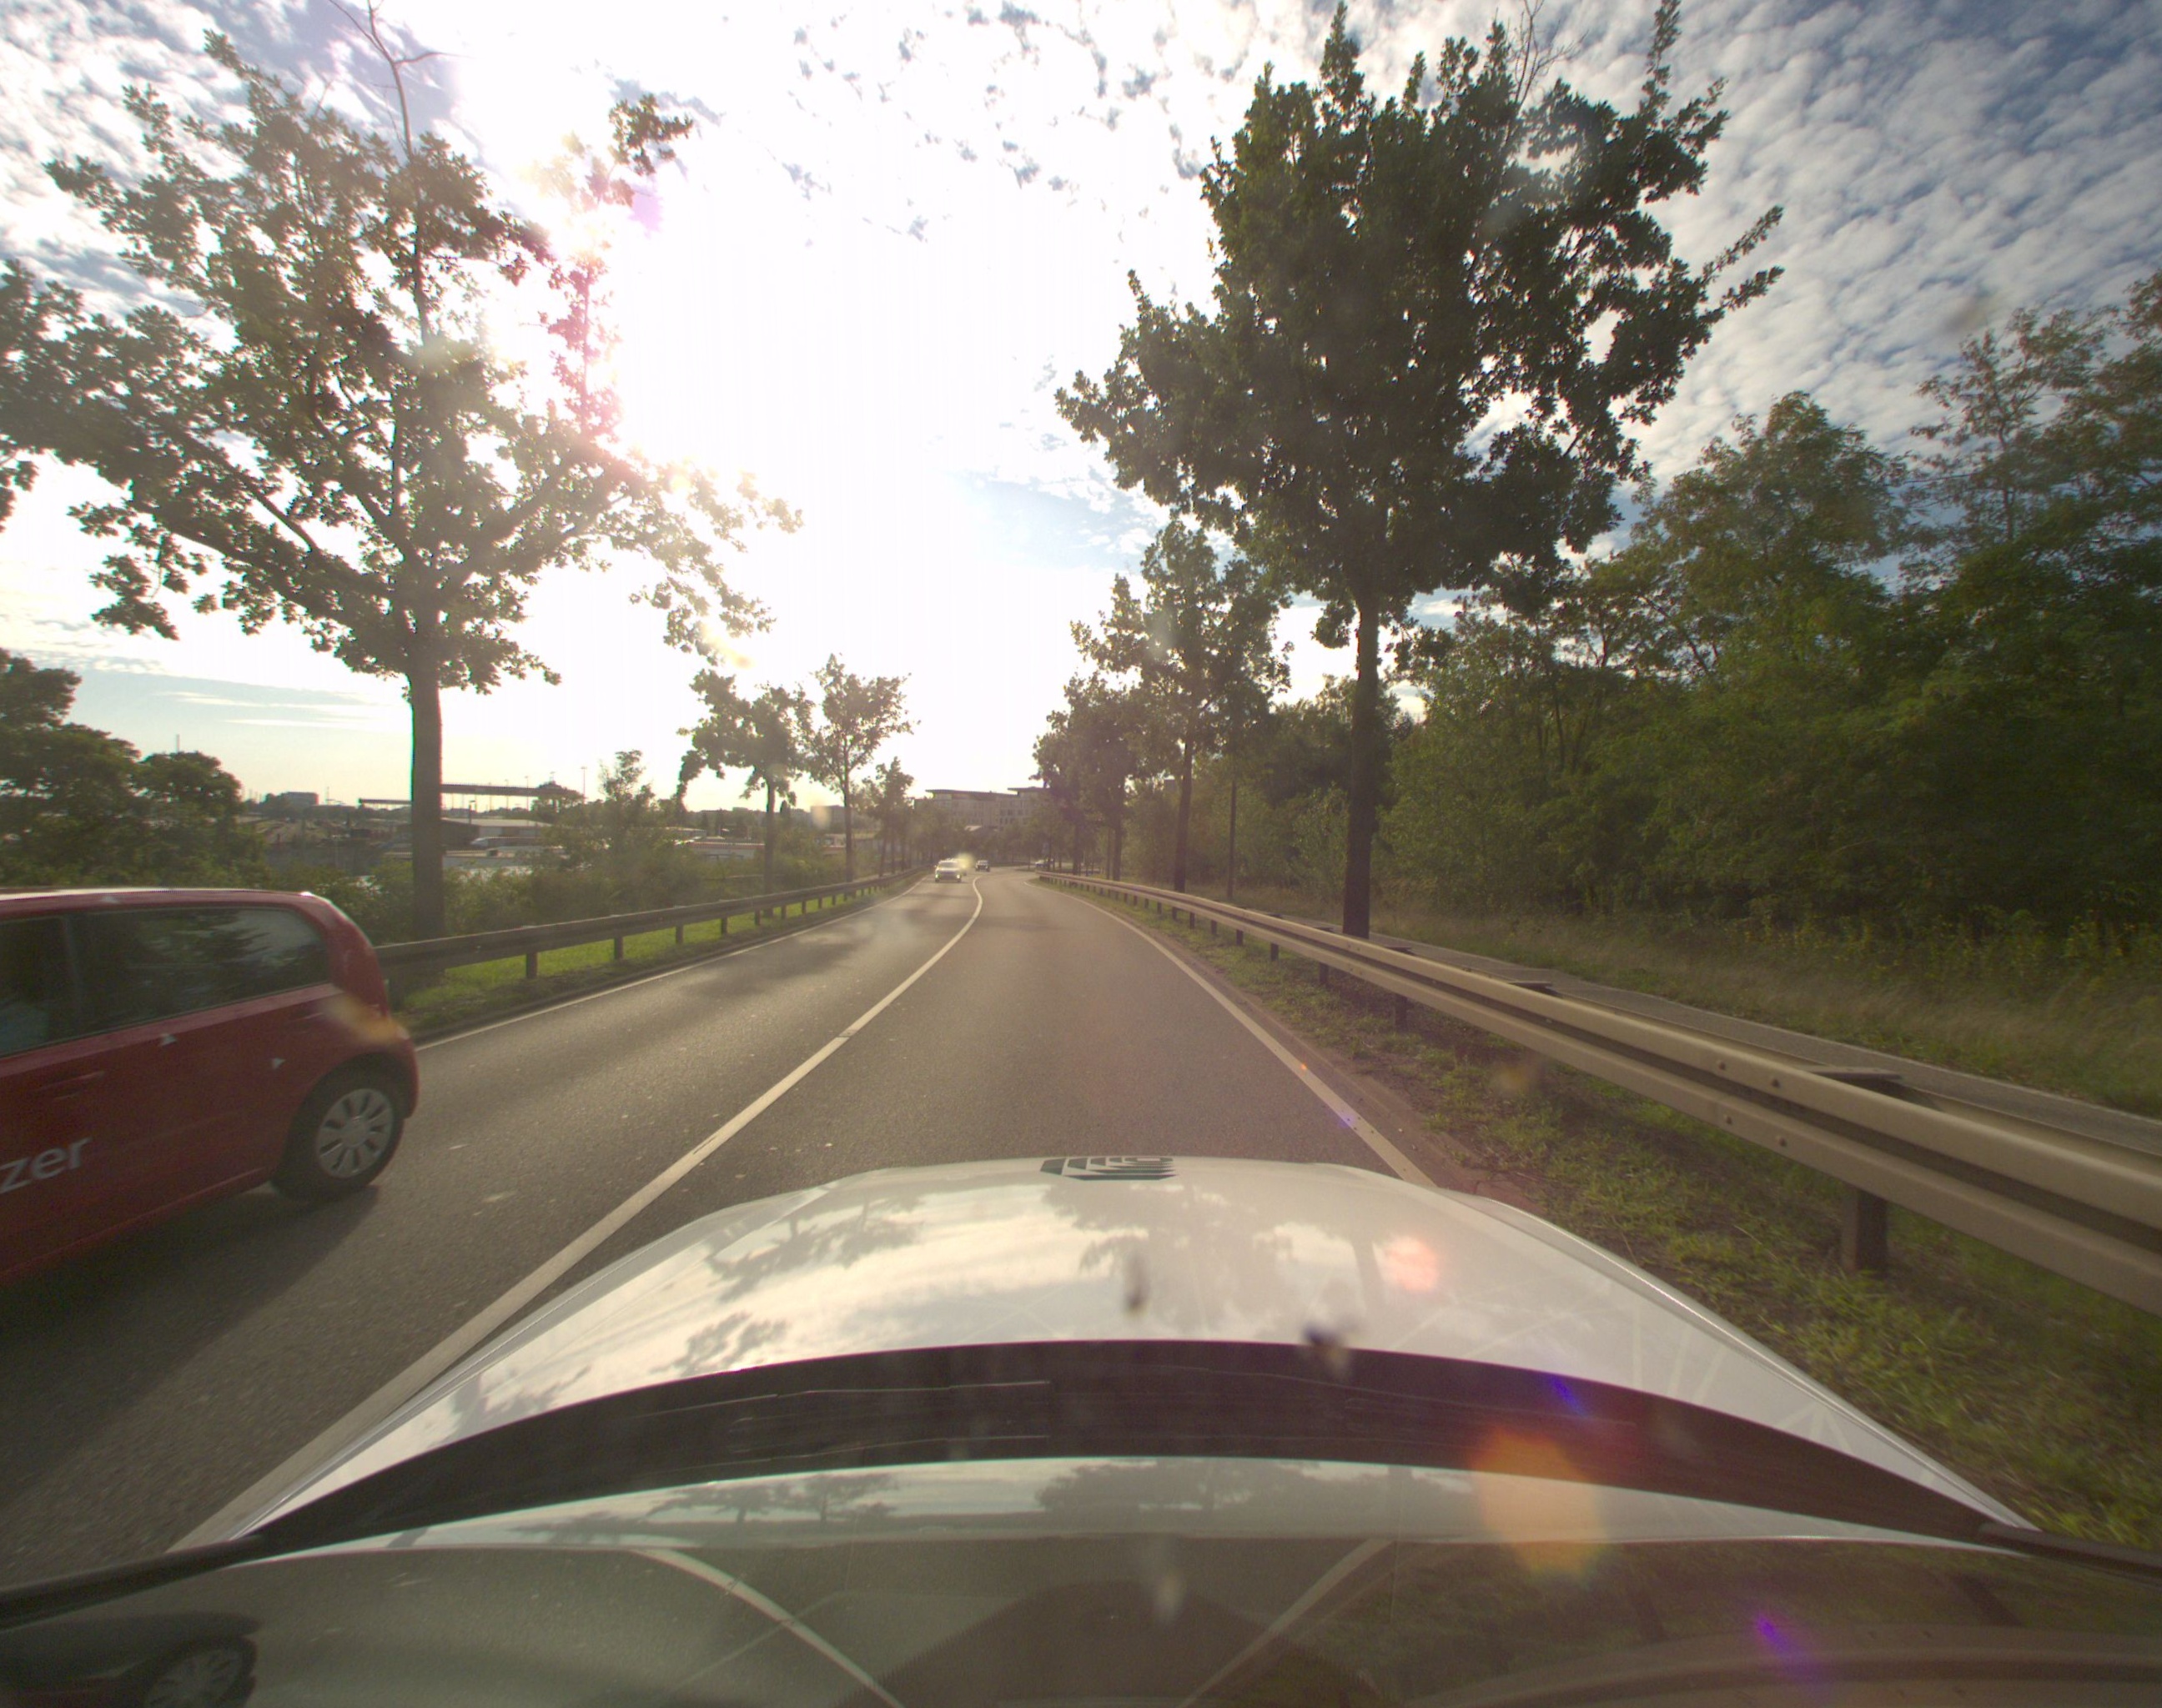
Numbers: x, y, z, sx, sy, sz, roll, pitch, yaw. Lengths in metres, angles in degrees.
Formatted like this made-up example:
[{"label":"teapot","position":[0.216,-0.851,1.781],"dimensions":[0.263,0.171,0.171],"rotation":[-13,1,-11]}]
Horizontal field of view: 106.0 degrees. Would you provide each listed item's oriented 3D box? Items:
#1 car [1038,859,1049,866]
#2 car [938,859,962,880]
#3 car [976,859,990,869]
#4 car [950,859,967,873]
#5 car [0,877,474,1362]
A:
[{"label":"car","position":[-7.650,1.687,166.026],"dimensions":[1.559,1.425,3.598],"rotation":[-1,0,7]},{"label":"car","position":[-9.290,1.071,58.102],"dimensions":[1.566,1.425,3.581],"rotation":[1,0,-7]},{"label":"car","position":[-13.872,1.425,115.184],"dimensions":[1.562,1.425,3.589],"rotation":[0,0,-1]},{"label":"car","position":[-12.534,1.226,83.230],"dimensions":[1.565,1.425,3.583],"rotation":[0,0,-6]},{"label":"car","position":[-4.082,0.843,2.625],"dimensions":[1.562,1.425,3.590],"rotation":[0,0,-1]}]
